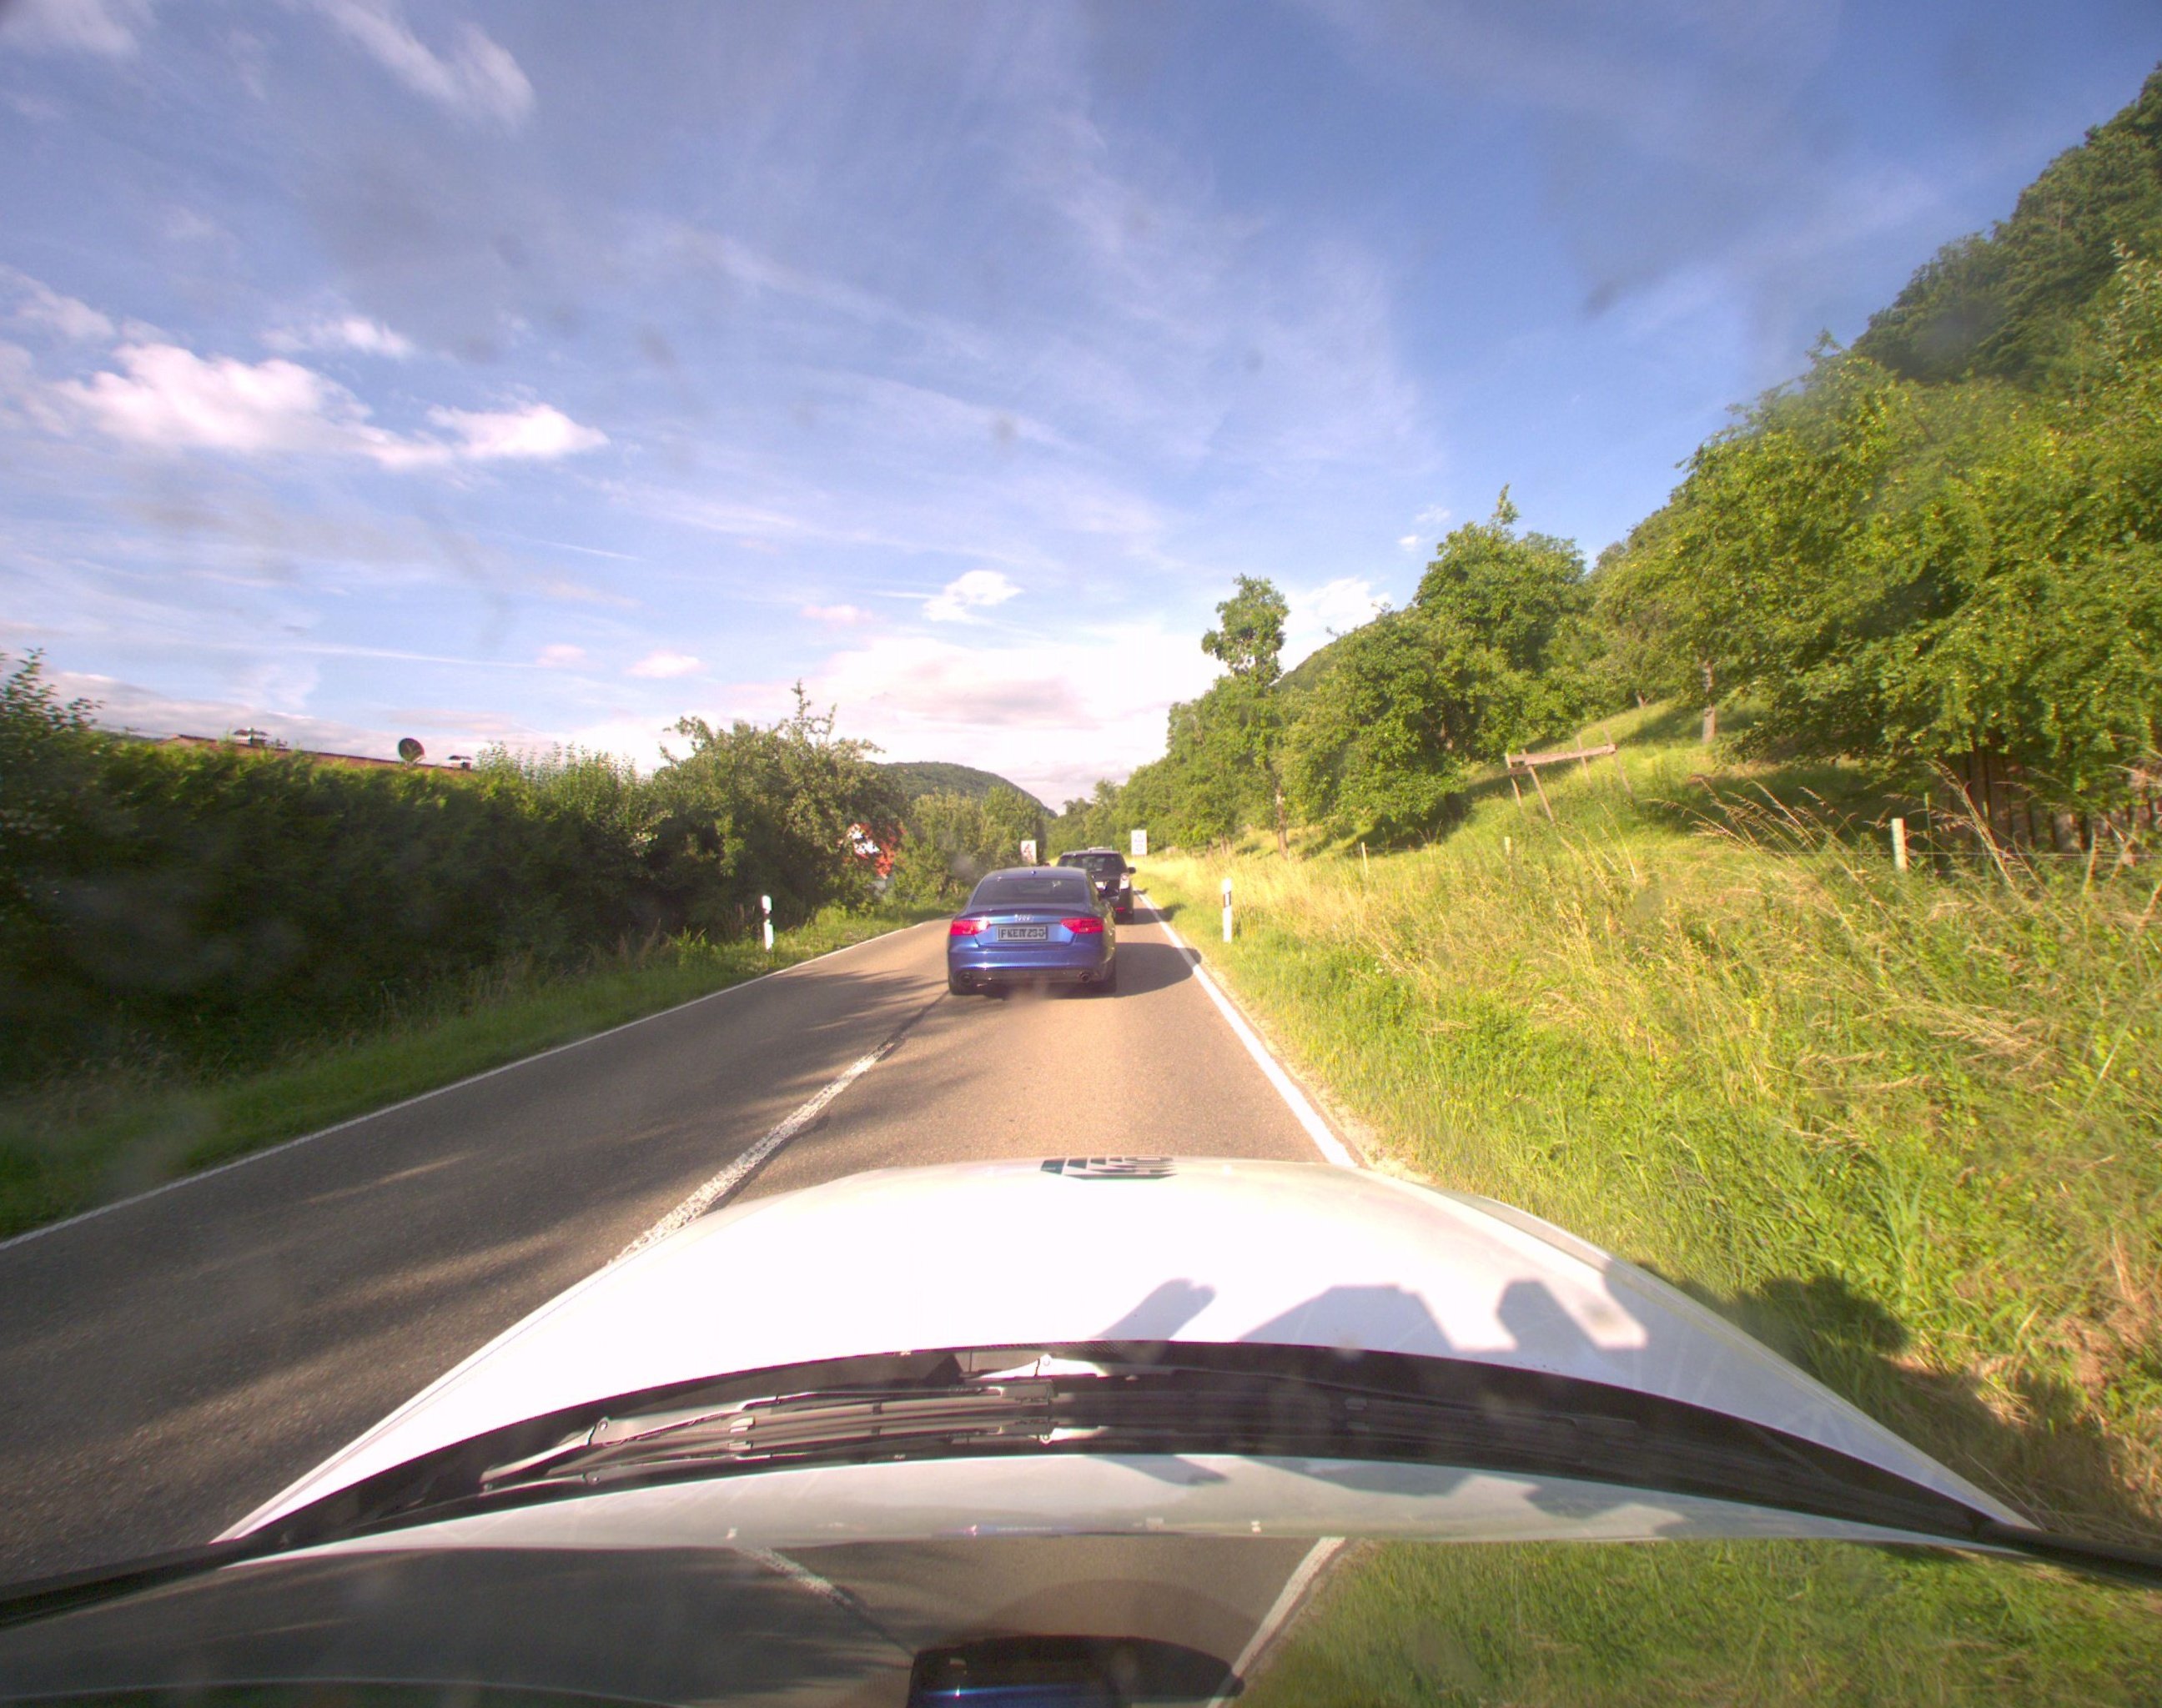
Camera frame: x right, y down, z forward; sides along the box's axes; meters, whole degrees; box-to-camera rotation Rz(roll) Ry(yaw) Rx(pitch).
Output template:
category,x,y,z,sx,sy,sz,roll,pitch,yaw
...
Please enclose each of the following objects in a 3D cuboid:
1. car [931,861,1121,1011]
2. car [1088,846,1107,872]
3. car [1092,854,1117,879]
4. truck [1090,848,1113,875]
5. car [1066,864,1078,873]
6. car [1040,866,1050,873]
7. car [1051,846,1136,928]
category,x,y,z,sx,sy,sz,roll,pitch,yaw
car,-0.455,0.811,9.977,1.799,1.382,4.217,-1,0,2
car,1.637,0.488,81.528,1.787,2.453,3.917,0,0,-1
car,1.630,0.805,56.280,1.686,1.624,3.790,-1,0,1
truck,1.751,0.647,71.422,1.943,2.345,5.094,0,0,1
car,-1.534,2.396,138.005,1.557,1.496,3.769,0,0,-7
car,-7.547,3.293,170.686,1.559,1.496,3.764,0,0,-11
car,0.307,0.670,18.371,1.686,1.624,3.790,-1,0,1
